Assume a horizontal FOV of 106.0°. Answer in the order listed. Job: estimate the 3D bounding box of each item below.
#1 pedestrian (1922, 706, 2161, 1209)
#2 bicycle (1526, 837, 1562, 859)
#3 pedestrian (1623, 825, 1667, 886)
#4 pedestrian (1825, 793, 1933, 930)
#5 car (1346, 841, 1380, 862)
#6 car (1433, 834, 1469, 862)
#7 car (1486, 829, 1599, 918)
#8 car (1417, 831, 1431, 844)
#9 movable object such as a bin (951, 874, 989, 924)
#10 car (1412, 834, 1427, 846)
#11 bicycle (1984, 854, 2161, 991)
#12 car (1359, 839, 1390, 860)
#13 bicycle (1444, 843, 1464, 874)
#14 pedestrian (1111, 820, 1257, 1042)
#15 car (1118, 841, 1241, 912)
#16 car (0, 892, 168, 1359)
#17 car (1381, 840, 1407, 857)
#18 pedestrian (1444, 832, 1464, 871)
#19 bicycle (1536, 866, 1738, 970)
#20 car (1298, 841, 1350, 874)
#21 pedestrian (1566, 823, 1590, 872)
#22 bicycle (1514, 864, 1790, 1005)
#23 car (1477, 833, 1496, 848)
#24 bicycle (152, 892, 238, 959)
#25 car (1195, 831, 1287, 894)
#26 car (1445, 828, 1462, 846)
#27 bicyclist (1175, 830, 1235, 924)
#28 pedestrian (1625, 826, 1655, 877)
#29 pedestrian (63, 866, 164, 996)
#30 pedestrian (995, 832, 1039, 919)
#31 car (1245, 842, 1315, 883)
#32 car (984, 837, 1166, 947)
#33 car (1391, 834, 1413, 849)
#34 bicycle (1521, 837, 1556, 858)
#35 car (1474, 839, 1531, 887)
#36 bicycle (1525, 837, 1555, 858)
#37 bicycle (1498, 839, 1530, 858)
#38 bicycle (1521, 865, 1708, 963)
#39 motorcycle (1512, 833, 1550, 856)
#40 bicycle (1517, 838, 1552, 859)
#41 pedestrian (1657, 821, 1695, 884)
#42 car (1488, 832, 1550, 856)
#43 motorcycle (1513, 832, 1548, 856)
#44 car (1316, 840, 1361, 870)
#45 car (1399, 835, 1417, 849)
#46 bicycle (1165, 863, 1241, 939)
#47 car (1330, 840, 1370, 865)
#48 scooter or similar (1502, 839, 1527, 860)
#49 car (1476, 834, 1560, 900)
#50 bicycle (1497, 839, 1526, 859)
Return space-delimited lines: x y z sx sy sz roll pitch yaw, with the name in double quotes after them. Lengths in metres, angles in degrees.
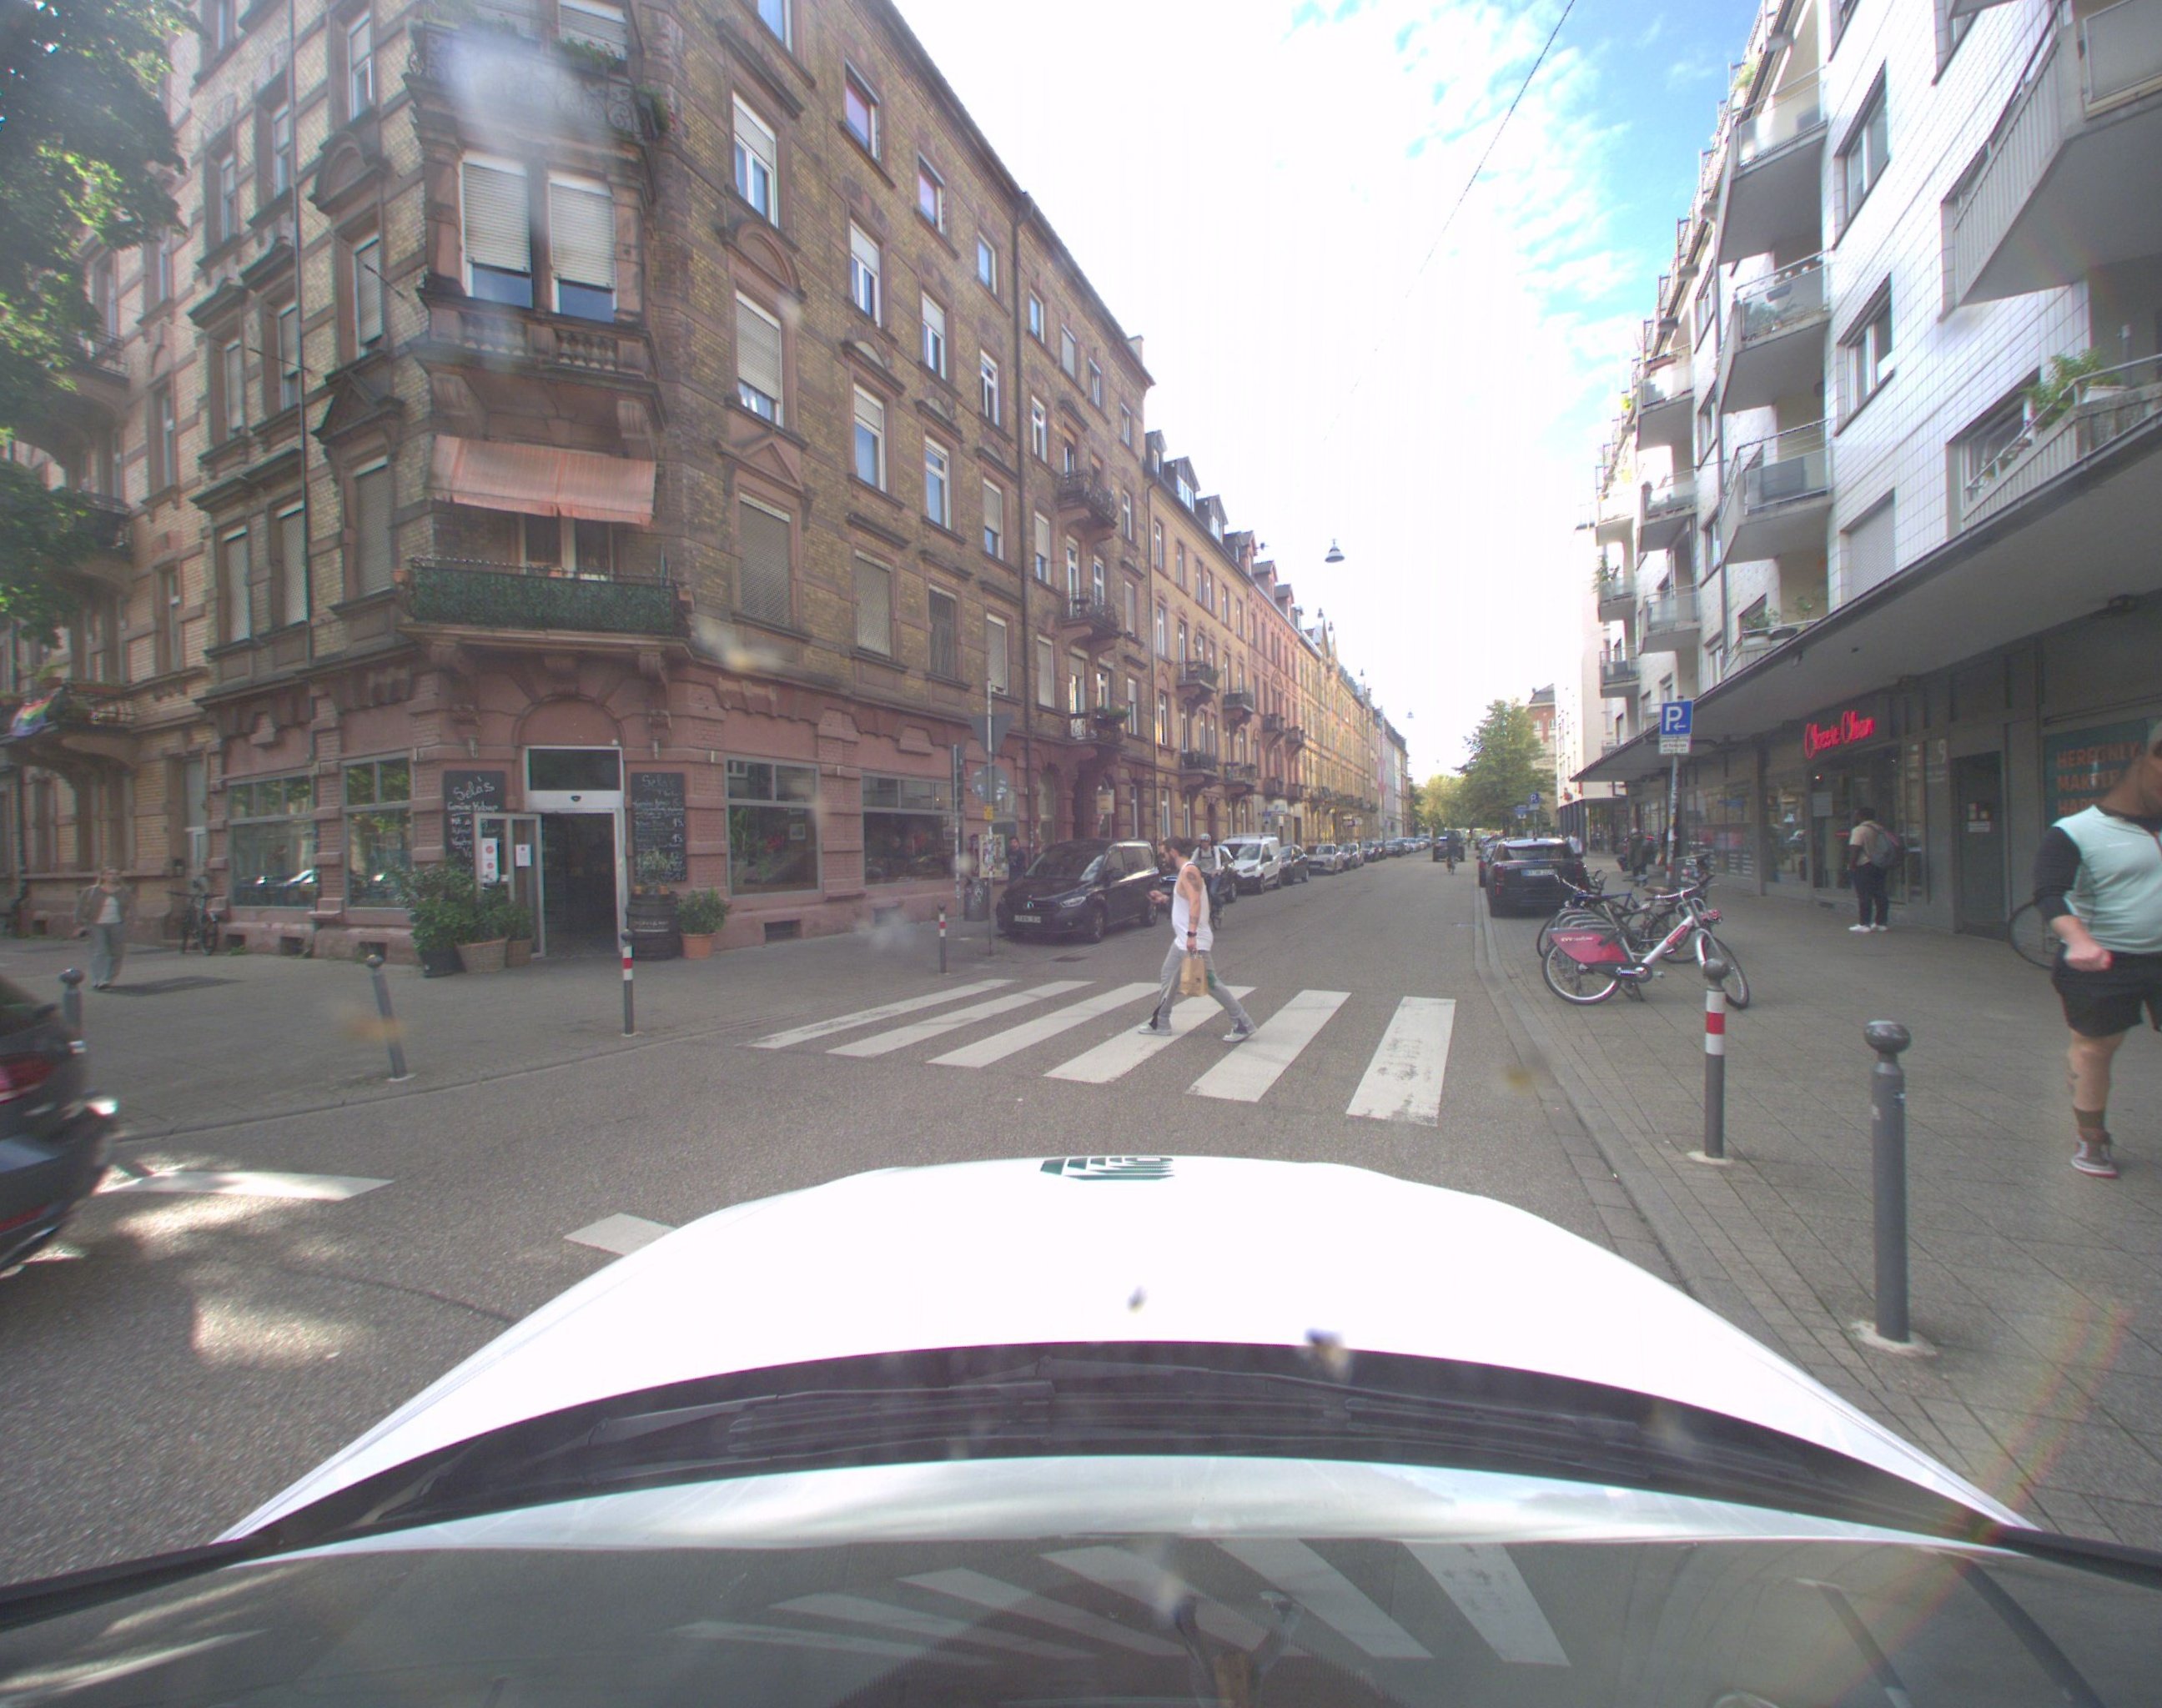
4.312 0.361 3.356 0.875 1.834 1.054 -4 -1 34 "pedestrian"
26.979 -0.374 47.464 1.749 1.162 0.654 -4 0 28 "bicycle"
15.043 0.045 21.740 0.816 1.588 0.785 -2 0 28 "pedestrian"
10.703 0.097 10.956 0.707 1.747 0.822 -4 0 24 "pedestrian"
19.475 -0.205 56.194 1.674 1.386 3.891 0 2 27 "car"
24.192 -0.426 53.177 1.947 1.740 4.065 -1 1 26 "car"
9.698 0.339 17.359 1.776 1.605 3.948 -4 0 27 "car"
51.259 -2.429 121.560 1.675 1.821 3.890 1 1 25 "car"
-1.679 0.679 12.375 0.379 0.714 0.478 0 1 22 "movable object such as a bin"
44.347 -1.812 106.714 1.674 1.550 3.890 0 1 25 "car"
8.994 0.545 7.162 0.734 1.015 1.794 -4 -1 26 "bicycle"
22.303 -0.373 61.833 1.674 1.437 3.891 0 2 27 "car"
16.047 0.166 34.985 0.711 1.274 1.895 0 1 27 "bicycle"
0.862 0.593 6.656 1.011 1.671 0.808 -2 -1 17 "pedestrian"
2.684 0.500 21.260 1.975 1.638 4.169 -1 1 25 "car"
-5.211 0.920 1.903 1.774 1.438 4.024 -3 -1 43 "car"
27.192 -0.496 70.666 1.675 1.369 3.891 3 3 27 "car"
16.035 -0.130 34.994 0.711 1.650 0.936 0 1 27 "pedestrian"
6.321 0.736 9.352 1.774 1.070 0.571 -4 0 16 "bicycle"
11.941 0.133 39.921 1.725 1.483 4.008 0 2 27 "car"
18.039 -0.256 29.557 0.606 1.726 1.133 -2 1 27 "pedestrian"
5.104 0.732 7.470 1.865 1.125 0.913 -4 -1 24 "bicycle"
45.626 -1.553 91.652 1.912 1.638 4.024 0 1 26 "car"
-15.351 1.211 14.101 1.761 1.067 0.531 0 0 27 "bicycle"
5.384 0.218 26.906 1.902 1.871 4.463 -1 1 25 "car"
44.213 -2.035 96.598 1.766 2.019 3.911 0 1 25 "car"
2.327 0.411 15.224 0.694 1.677 1.119 -3 0 27 "bicyclist"
18.144 -0.091 26.455 0.638 1.588 0.785 -4 -1 28 "pedestrian"
-12.603 0.970 10.618 0.799 1.577 0.619 0 4 31 "pedestrian"
-1.400 0.446 17.944 0.671 1.840 0.862 1 2 20 "pedestrian"
7.758 0.292 31.527 1.725 1.483 4.007 0 0 27 "car"
0.070 0.575 15.662 1.744 1.773 4.431 0 1 25 "car"
32.342 -1.263 82.016 1.674 1.550 3.890 1 1 26 "car"
27.872 -0.413 49.680 1.750 1.146 0.413 -4 0 20 "bicycle"
14.353 0.254 27.768 1.580 1.439 4.055 -2 0 27 "car"
27.706 -0.399 49.159 1.481 1.146 0.414 -4 0 26 "bicycle"
28.446 -0.359 53.448 1.777 1.159 0.503 -4 0 29 "bicycle"
6.489 0.730 9.999 1.774 1.070 0.589 -4 0 16 "bicycle"
30.900 -0.640 55.931 2.129 1.435 0.770 -4 0 31 "motorcycle"
27.057 -0.334 48.600 1.749 1.087 0.654 -4 0 28 "bicycle"
17.782 -0.053 24.333 0.647 1.860 0.702 -2 0 -35 "pedestrian"
32.722 -0.736 60.987 3.731 1.546 1.738 -3 -1 16 "car"
32.340 -0.718 58.620 2.129 1.530 0.690 -4 0 31 "motorcycle"
14.089 0.000 44.435 1.725 1.483 4.008 0 2 27 "car"
37.469 -1.409 93.290 1.674 1.550 3.890 0 1 25 "car"
2.293 0.829 15.109 0.694 1.220 2.130 -3 0 27 "bicycle"
16.021 -0.114 48.336 1.674 1.386 3.891 0 2 27 "car"
25.519 -0.250 47.950 0.380 1.147 1.197 -5 0 -32 "scooter or similar"
11.494 0.298 21.627 1.673 1.577 3.925 -2 0 25 "car"
26.299 -0.303 49.787 1.482 1.146 0.413 -4 0 21 "bicycle"
